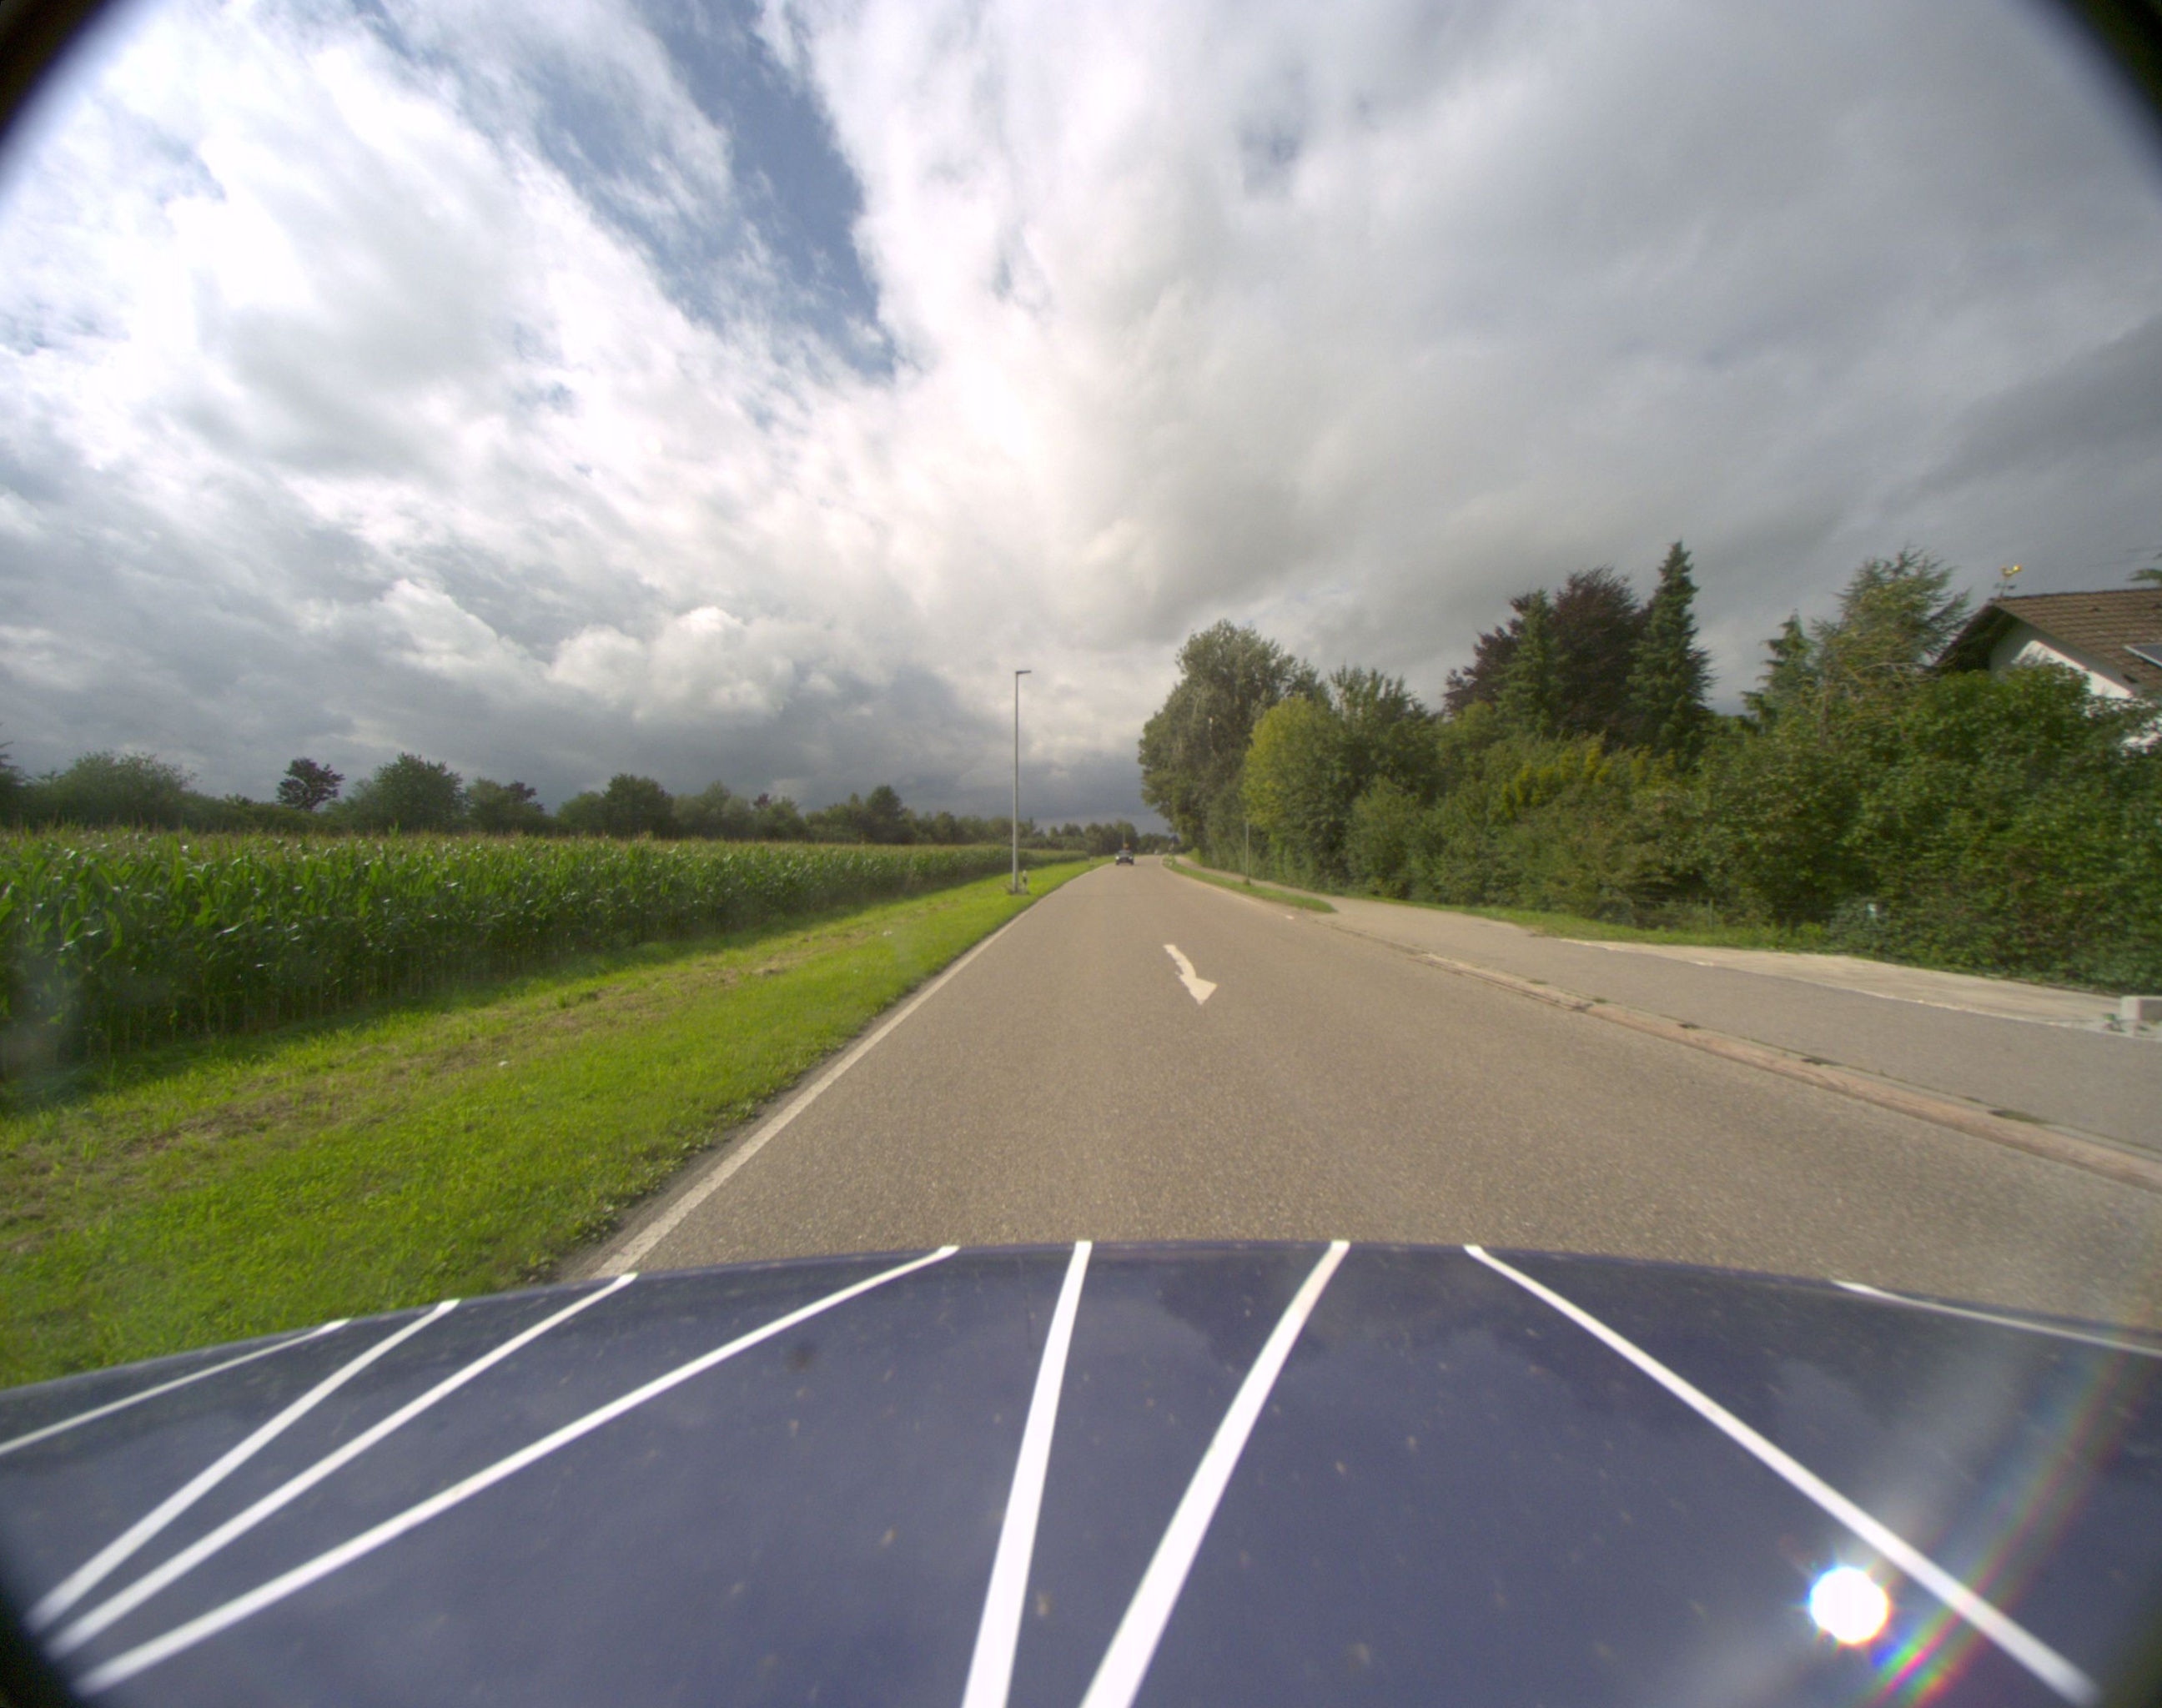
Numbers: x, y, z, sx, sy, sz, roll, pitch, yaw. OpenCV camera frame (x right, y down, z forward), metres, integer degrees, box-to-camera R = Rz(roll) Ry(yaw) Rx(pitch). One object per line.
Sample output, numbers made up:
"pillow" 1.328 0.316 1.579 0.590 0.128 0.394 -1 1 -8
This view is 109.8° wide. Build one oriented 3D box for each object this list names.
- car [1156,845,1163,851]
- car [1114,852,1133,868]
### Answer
"car" 22.699 -1.798 219.033 1.814 1.641 4.294 1 1 7
"car" 4.784 0.647 84.681 1.998 1.594 4.001 -1 0 5
